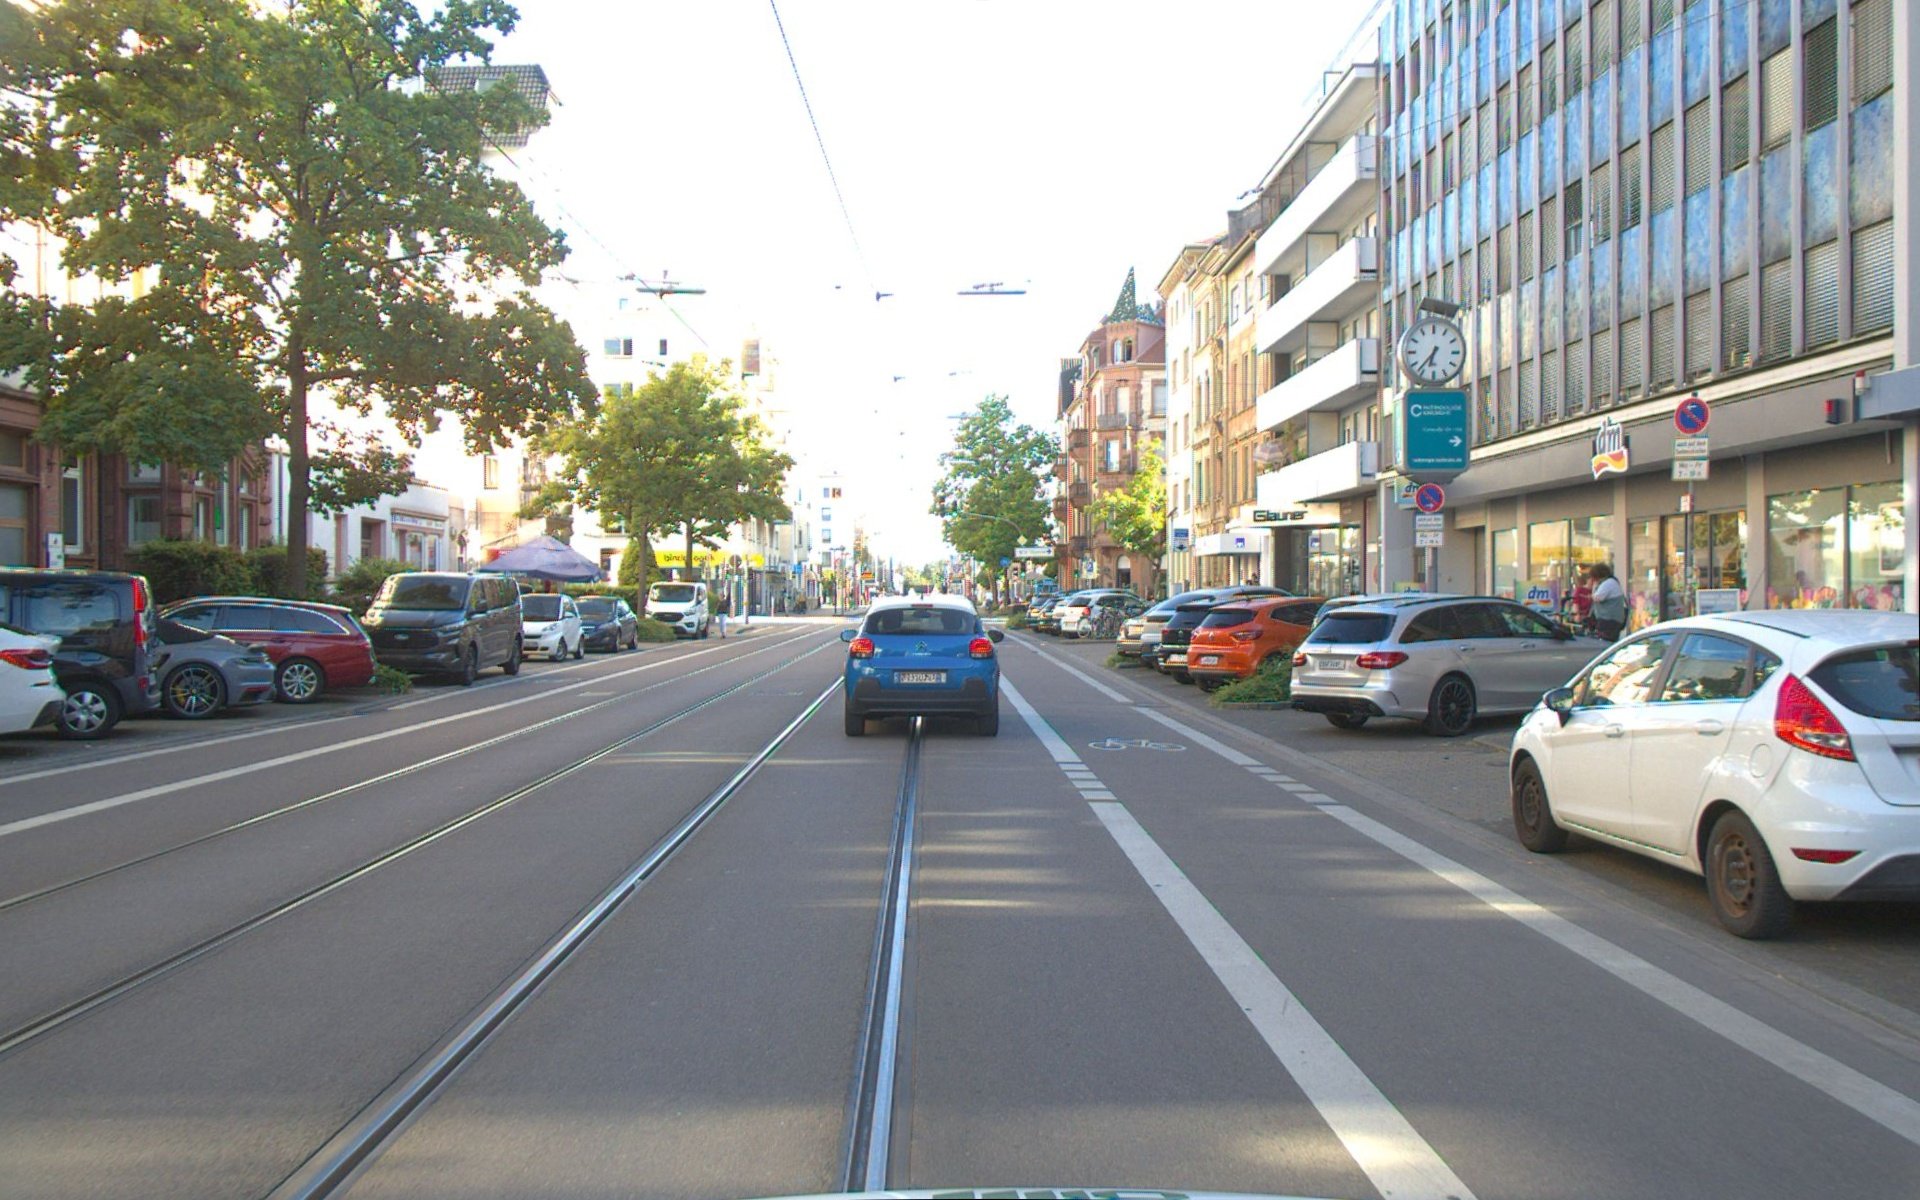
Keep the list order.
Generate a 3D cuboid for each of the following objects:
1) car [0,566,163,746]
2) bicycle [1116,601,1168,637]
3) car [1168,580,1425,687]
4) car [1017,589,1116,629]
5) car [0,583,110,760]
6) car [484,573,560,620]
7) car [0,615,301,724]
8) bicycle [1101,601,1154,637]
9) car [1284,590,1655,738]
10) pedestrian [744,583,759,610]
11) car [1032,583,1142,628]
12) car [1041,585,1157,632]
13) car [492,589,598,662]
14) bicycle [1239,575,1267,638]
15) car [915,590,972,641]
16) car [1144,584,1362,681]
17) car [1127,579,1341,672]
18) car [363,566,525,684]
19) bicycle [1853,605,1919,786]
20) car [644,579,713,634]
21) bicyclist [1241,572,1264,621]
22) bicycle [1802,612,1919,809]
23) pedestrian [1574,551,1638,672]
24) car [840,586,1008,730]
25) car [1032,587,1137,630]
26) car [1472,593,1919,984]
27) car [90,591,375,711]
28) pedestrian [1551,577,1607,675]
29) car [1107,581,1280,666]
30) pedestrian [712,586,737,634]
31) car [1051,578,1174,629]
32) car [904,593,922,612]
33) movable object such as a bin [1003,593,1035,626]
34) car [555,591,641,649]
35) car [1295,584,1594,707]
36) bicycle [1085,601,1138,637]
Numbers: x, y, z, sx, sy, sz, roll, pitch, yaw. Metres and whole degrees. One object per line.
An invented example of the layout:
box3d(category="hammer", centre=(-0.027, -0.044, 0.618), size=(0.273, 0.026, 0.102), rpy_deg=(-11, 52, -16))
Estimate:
box3d(category="car", centre=(-10.674, 0.569, 17.595), size=(3.939, 1.848, 1.698), rpy_deg=(1, 0, -27))
box3d(category="bicycle", centre=(5.583, 0.569, 50.819), size=(0.549, 1.066, 1.785), rpy_deg=(1, 0, -36))
box3d(category="car", centre=(5.282, 0.501, 25.869), size=(3.686, 1.547, 1.945), rpy_deg=(1, 0, -34))
box3d(category="car", centre=(4.291, 0.358, 66.765), size=(3.600, 1.561, 1.778), rpy_deg=(1, 0, -21))
box3d(category="car", centre=(-10.591, 0.652, 15.305), size=(4.713, 1.646, 1.692), rpy_deg=(1, 0, -34))
box3d(category="car", centre=(-14.473, -0.099, 54.765), size=(1.600, 1.494, 3.526), rpy_deg=(1, 0, -1))
box3d(category="car", centre=(-10.494, 0.856, 21.140), size=(3.751, 1.287, 1.503), rpy_deg=(1, 0, -27))
box3d(category="bicycle", centre=(5.096, 0.568, 50.431), size=(0.549, 1.066, 1.785), rpy_deg=(1, 0, -36))
box3d(category="car", centre=(5.866, 0.678, 18.867), size=(4.393, 1.534, 1.520), rpy_deg=(1, 0, -31))
box3d(category="pedestrian", centre=(-14.021, -0.255, 111.098), size=(0.926, 1.782, 0.699), rpy_deg=(1, 0, -5))
box3d(category="car", centre=(4.620, 0.203, 60.237), size=(3.600, 1.601, 1.850), rpy_deg=(1, 0, -21))
box3d(category="car", centre=(4.808, 0.301, 57.320), size=(3.600, 1.601, 1.850), rpy_deg=(1, 0, -21))
box3d(category="car", centre=(-10.020, 0.591, 40.206), size=(1.713, 1.646, 4.407), rpy_deg=(1, 0, -4))
box3d(category="bicycle", centre=(9.850, 0.218, 55.694), size=(0.713, 2.049, 2.359), rpy_deg=(0, 0, 5))
box3d(category="car", centre=(-0.553, 0.499, 55.248), size=(1.835, 1.624, 3.999), rpy_deg=(1, 0, -1))
box3d(category="car", centre=(5.054, 0.536, 28.496), size=(3.409, 1.582, 1.804), rpy_deg=(1, 0, -33))
box3d(category="car", centre=(5.252, 0.468, 31.601), size=(3.686, 1.681, 2.024), rpy_deg=(1, 0, -34))
box3d(category="car", centre=(-9.535, 0.437, 30.979), size=(1.713, 2.008, 5.236), rpy_deg=(1, 0, -4))
box3d(category="bicycle", centre=(7.370, 0.670, 11.490), size=(1.978, 1.243, 0.664), rpy_deg=(0, 0, 22))
box3d(category="car", centre=(-10.057, 0.237, 59.280), size=(1.794, 1.880, 4.213), rpy_deg=(1, 0, -1))
box3d(category="bicyclist", centre=(9.866, -0.121, 55.745), size=(0.717, 1.651, 0.529), rpy_deg=(0, 0, 5))
box3d(category="bicycle", centre=(6.159, 0.686, 10.794), size=(0.679, 1.206, 1.238), rpy_deg=(1, 0, -1))
box3d(category="pedestrian", centre=(9.685, 0.168, 24.819), size=(0.678, 1.786, 0.678), rpy_deg=(1, 0, -1))
box3d(category="car", centre=(-0.403, 0.602, 18.882), size=(1.726, 1.466, 3.556), rpy_deg=(1, 0, -1))
box3d(category="car", centre=(4.770, 0.337, 63.649), size=(3.600, 1.601, 1.850), rpy_deg=(1, 0, -21))
box3d(category="car", centre=(4.311, 0.792, 8.896), size=(1.835, 1.624, 3.999), rpy_deg=(1, 0, -1))
box3d(category="car", centre=(-10.572, 0.719, 24.262), size=(3.672, 1.651, 1.777), rpy_deg=(1, 0, -22))
box3d(category="pedestrian", centre=(10.441, 0.433, 27.929), size=(0.678, 1.615, 0.678), rpy_deg=(1, 0, -1))
box3d(category="car", centre=(4.861, 0.477, 34.271), size=(3.417, 1.668, 1.662), rpy_deg=(1, 0, -38))
box3d(category="pedestrian", centre=(-8.528, 0.360, 59.844), size=(0.720, 1.756, 0.623), rpy_deg=(1, 0, -25))
box3d(category="car", centre=(5.001, 0.126, 54.144), size=(3.614, 1.601, 1.843), rpy_deg=(1, 0, -30))
box3d(category="car", centre=(-3.775, 0.195, 132.452), size=(1.394, 1.457, 3.138), rpy_deg=(1, 0, -1))
box3d(category="movable object such as a bin", centre=(2.717, 0.439, 76.037), size=(1.366, 1.509, 1.655), rpy_deg=(1, 0, -1))
box3d(category="car", centre=(-9.918, 0.522, 45.570), size=(1.713, 1.513, 4.039), rpy_deg=(1, 0, -4))
box3d(category="car", centre=(6.500, 0.577, 22.147), size=(3.735, 1.513, 1.820), rpy_deg=(1, 0, -31))
box3d(category="bicycle", centre=(4.584, 0.568, 50.065), size=(0.549, 1.066, 1.785), rpy_deg=(1, 0, -36))
